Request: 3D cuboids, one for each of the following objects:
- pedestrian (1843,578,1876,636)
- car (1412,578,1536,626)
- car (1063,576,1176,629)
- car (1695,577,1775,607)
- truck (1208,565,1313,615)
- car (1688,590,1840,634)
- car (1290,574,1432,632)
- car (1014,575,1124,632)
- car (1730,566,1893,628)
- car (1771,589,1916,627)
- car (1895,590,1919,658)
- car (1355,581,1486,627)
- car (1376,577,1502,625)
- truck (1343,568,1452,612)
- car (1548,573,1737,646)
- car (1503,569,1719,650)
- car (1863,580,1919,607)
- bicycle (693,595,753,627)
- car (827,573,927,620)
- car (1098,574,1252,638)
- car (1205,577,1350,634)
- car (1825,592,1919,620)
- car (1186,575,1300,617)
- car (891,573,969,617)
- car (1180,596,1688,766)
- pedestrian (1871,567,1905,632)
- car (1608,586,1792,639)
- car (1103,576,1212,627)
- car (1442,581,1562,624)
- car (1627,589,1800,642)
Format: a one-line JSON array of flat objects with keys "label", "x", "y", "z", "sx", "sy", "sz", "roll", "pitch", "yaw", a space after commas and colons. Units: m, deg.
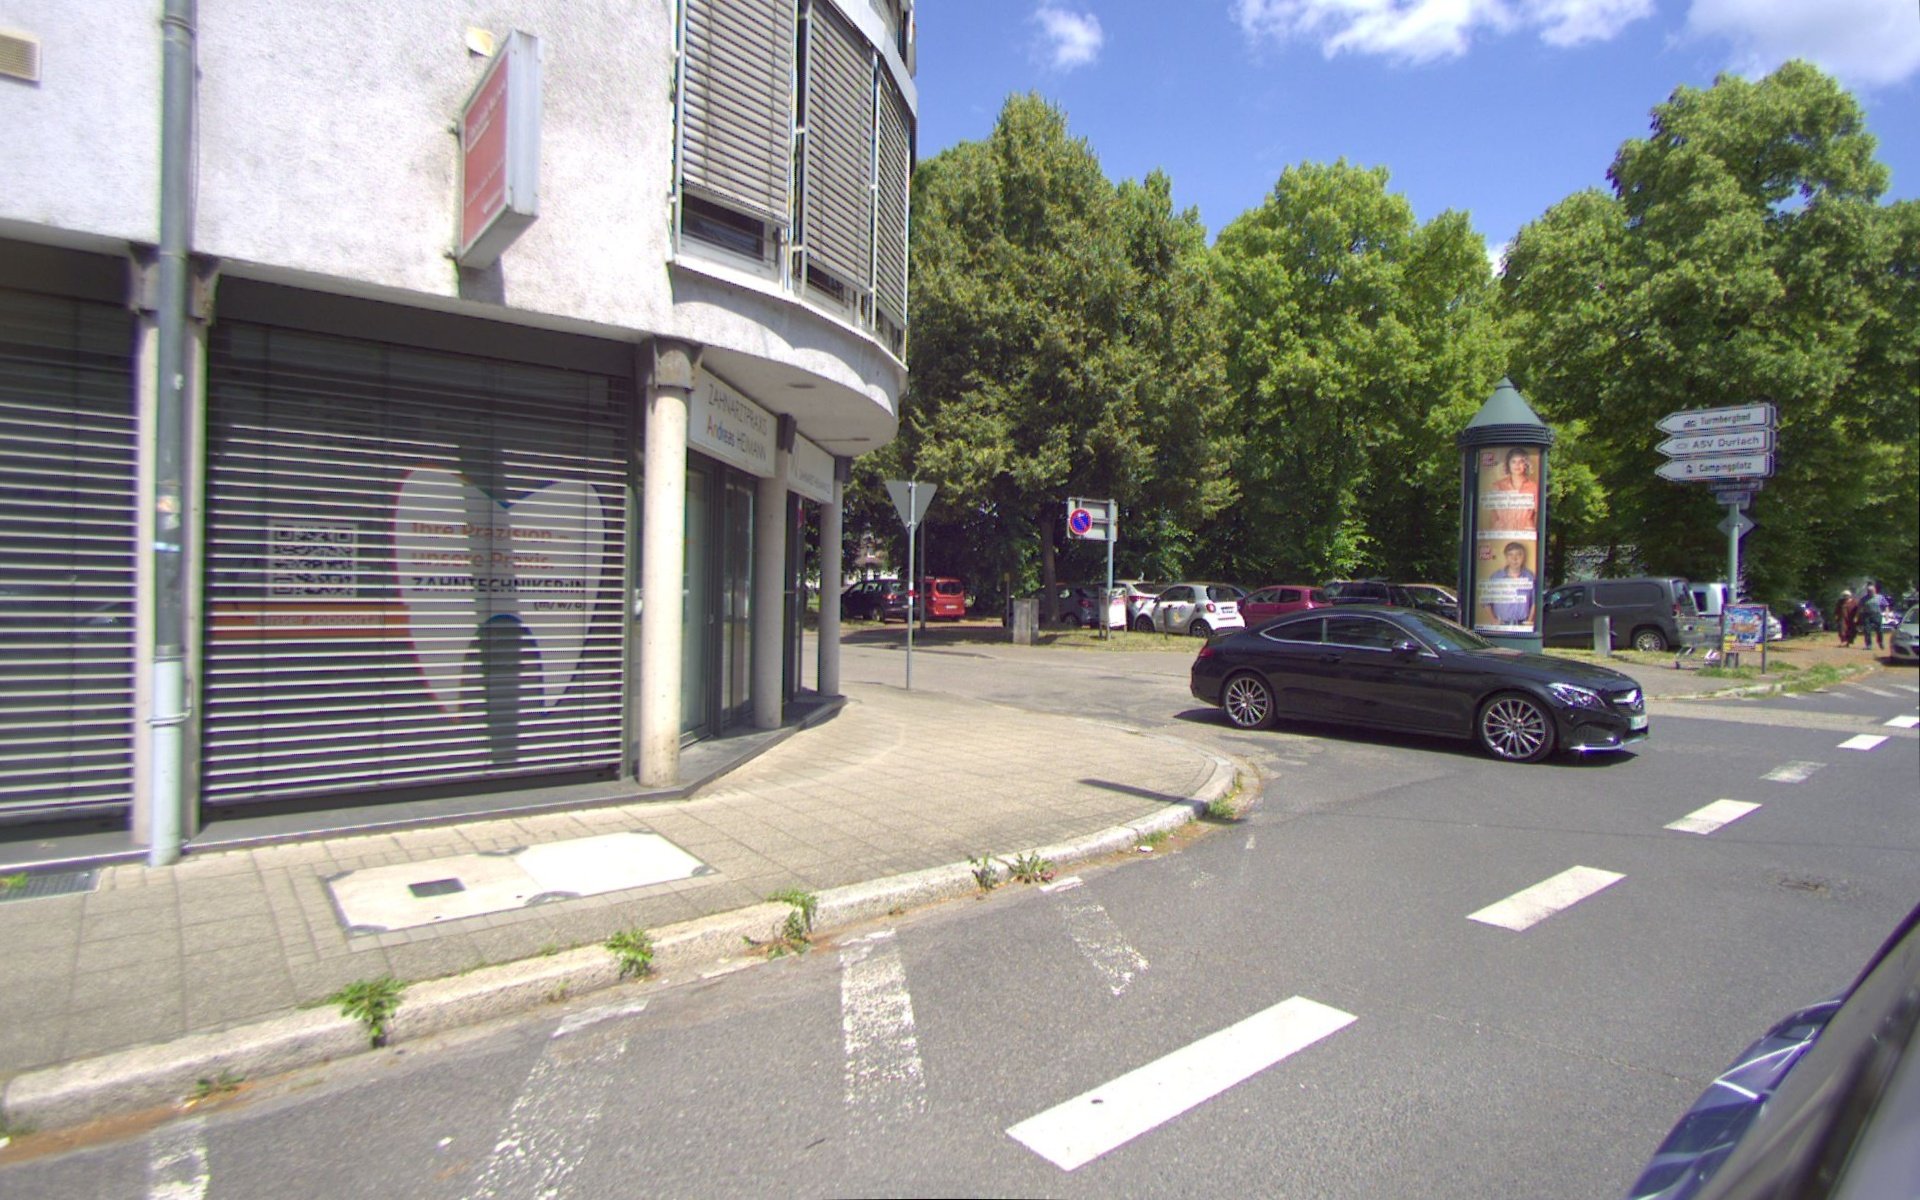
[{"label": "pedestrian", "x": 25.529, "y": 0.189, "z": 28.716, "sx": 0.724, "sy": 1.613, "sz": 0.618, "roll": 0, "pitch": 0, "yaw": -41}, {"label": "car", "x": 20.332, "y": 0.037, "z": 40.160, "sx": 1.772, "sy": 1.682, "sz": 3.998, "roll": 0, "pitch": 2, "yaw": -38}, {"label": "car", "x": 5.131, "y": 0.038, "z": 32.801, "sx": 1.564, "sy": 1.573, "sz": 3.386, "roll": 0, "pitch": 2, "yaw": -42}, {"label": "car", "x": 56.384, "y": -0.596, "z": 73.692, "sx": 1.824, "sy": 2.022, "sz": 4.367, "roll": 0, "pitch": 2, "yaw": -44}, {"label": "truck", "x": 12.238, "y": -0.446, "z": 41.368, "sx": 1.706, "sy": 1.905, "sz": 3.808, "roll": 0, "pitch": 2, "yaw": -38}, {"label": "car", "x": 28.718, "y": 0.404, "z": 36.248, "sx": 1.686, "sy": 1.492, "sz": 3.996, "roll": 0, "pitch": 0, "yaw": -38}, {"label": "car", "x": 13.082, "y": 0.042, "z": 33.209, "sx": 1.673, "sy": 1.699, "sz": 3.992, "roll": 0, "pitch": 2, "yaw": -43}, {"label": "car", "x": 3.296, "y": 0.069, "z": 30.922, "sx": 1.564, "sy": 1.573, "sz": 3.068, "roll": 0, "pitch": 2, "yaw": -42}, {"label": "car", "x": 33.619, "y": -0.104, "z": 40.055, "sx": 2.068, "sy": 2.305, "sz": 4.612, "roll": 0, "pitch": -1, "yaw": -39}, {"label": "car", "x": 36.620, "y": 0.333, "z": 42.032, "sx": 1.777, "sy": 1.513, "sz": 4.331, "roll": 0, "pitch": -1, "yaw": -41}, {"label": "car", "x": 23.214, "y": 0.533, "z": 23.519, "sx": 3.823, "sy": 1.504, "sz": 1.770, "roll": -1, "pitch": 1, "yaw": -41}, {"label": "car", "x": 16.611, "y": 0.104, "z": 36.630, "sx": 1.652, "sy": 1.501, "sz": 3.994, "roll": 0, "pitch": 2, "yaw": -41}, {"label": "car", "x": 18.261, "y": -0.017, "z": 38.697, "sx": 1.652, "sy": 1.661, "sz": 3.994, "roll": 0, "pitch": 2, "yaw": -41}, {"label": "truck", "x": 19.611, "y": -0.479, "z": 45.513, "sx": 1.844, "sy": 1.837, "sz": 4.133, "roll": 0, "pitch": 2, "yaw": -37}, {"label": "car", "x": 17.397, "y": 0.179, "z": 25.910, "sx": 1.636, "sy": 1.688, "sz": 3.766, "roll": 0, "pitch": 2, "yaw": -44}, {"label": "car", "x": 15.550, "y": 0.168, "z": 24.318, "sx": 1.981, "sy": 1.773, "sz": 3.994, "roll": 0, "pitch": 1, "yaw": -40}, {"label": "car", "x": 55.410, "y": -0.375, "z": 59.155, "sx": 1.823, "sy": 1.546, "sz": 3.757, "roll": 0, "pitch": 2, "yaw": -43}, {"label": "bicycle", "x": -8.170, "y": 0.368, "z": 34.892, "sx": 1.881, "sy": 0.813, "sz": 0.707, "roll": -9, "pitch": 4, "yaw": -20}, {"label": "car", "x": -3.271, "y": -0.167, "z": 39.224, "sx": 1.839, "sy": 1.714, "sz": 3.993, "roll": 0, "pitch": 1, "yaw": -42}, {"label": "car", "x": 5.918, "y": 0.112, "z": 28.162, "sx": 1.652, "sy": 1.573, "sz": 3.994, "roll": 0, "pitch": 2, "yaw": -41}, {"label": "car", "x": 9.796, "y": 0.118, "z": 31.432, "sx": 1.652, "sy": 1.547, "sz": 3.994, "roll": 0, "pitch": 2, "yaw": -41}, {"label": "car", "x": 46.377, "y": 0.281, "z": 51.307, "sx": 3.834, "sy": 1.375, "sz": 1.605, "roll": 1, "pitch": 0, "yaw": 42}, {"label": "car", "x": 10.636, "y": -0.188, "z": 38.217, "sx": 1.708, "sy": 1.477, "sz": 3.805, "roll": 0, "pitch": 2, "yaw": -41}, {"label": "car", "x": -1.265, "y": -0.234, "z": 40.963, "sx": 1.683, "sy": 1.688, "sz": 3.808, "roll": -1, "pitch": 2, "yaw": -28}, {"label": "car", "x": 4.849, "y": 0.675, "z": 10.920, "sx": 1.965, "sy": 1.382, "sz": 4.588, "roll": 0, "pitch": 1, "yaw": -41}, {"label": "pedestrian", "x": 25.908, "y": -0.025, "z": 28.246, "sx": 0.724, "sy": 1.786, "sz": 0.618, "roll": 0, "pitch": 0, "yaw": -41}, {"label": "car", "x": 21.229, "y": 0.304, "z": 29.144, "sx": 1.777, "sy": 1.416, "sz": 3.993, "roll": 0, "pitch": 0, "yaw": -41}, {"label": "car", "x": 6.698, "y": 0.017, "z": 34.559, "sx": 1.564, "sy": 1.573, "sz": 3.386, "roll": 0, "pitch": 2, "yaw": -42}, {"label": "car", "x": 22.379, "y": 0.075, "z": 41.930, "sx": 1.772, "sy": 1.606, "sz": 3.998, "roll": 0, "pitch": 2, "yaw": -38}, {"label": "car", "x": 23.201, "y": 0.427, "z": 31.284, "sx": 1.638, "sy": 1.446, "sz": 3.997, "roll": 0, "pitch": 2, "yaw": -39}]
